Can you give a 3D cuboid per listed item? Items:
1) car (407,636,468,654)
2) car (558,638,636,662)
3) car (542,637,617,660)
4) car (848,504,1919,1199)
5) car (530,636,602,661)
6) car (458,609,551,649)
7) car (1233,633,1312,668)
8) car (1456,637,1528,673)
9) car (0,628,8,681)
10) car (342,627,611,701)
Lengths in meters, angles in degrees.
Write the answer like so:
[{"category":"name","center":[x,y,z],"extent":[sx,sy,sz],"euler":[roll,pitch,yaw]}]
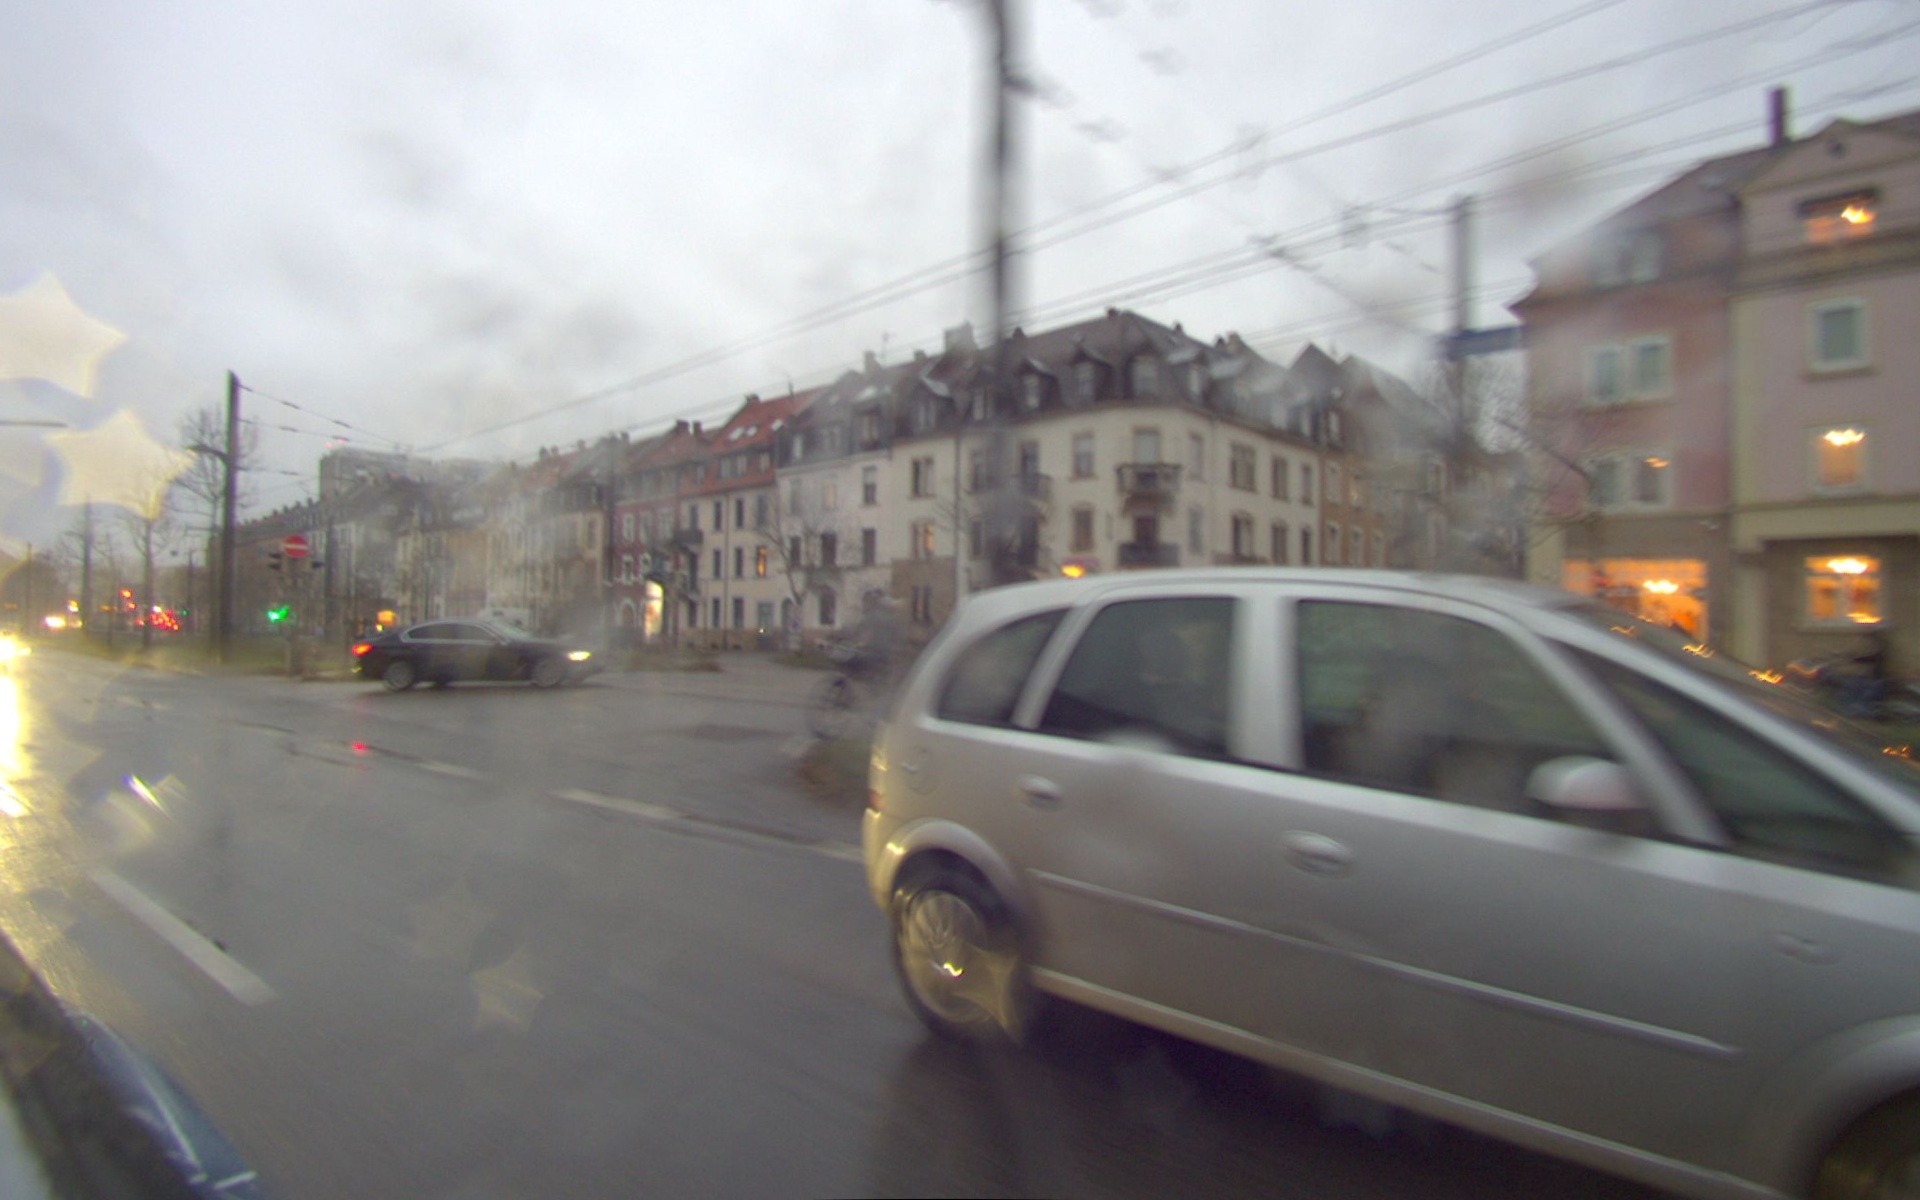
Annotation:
[{"category":"car","center":[-41.619,3.570,80.688],"extent":[3.935,1.342,2.004],"euler":[1,-2,-11]},{"category":"car","center":[-21.125,2.896,59.069],"extent":[3.936,1.342,2.003],"euler":[1,-2,-8]},{"category":"car","center":[-23.247,2.948,61.947],"extent":[3.936,1.342,2.003],"euler":[1,-2,-8]},{"category":"car","center":[1.682,0.663,2.993],"extent":[4.053,1.612,1.789],"euler":[-2,-2,42]},{"category":"car","center":[-25.070,3.094,64.514],"extent":[3.934,1.497,2.004],"euler":[1,-2,-11]},{"category":"car","center":[-33.010,2.134,73.486],"extent":[5.779,2.819,2.002],"euler":[1,-2,-4]},{"category":"car","center":[13.874,2.221,44.805],"extent":[1.795,1.497,3.942],"euler":[-2,-3,43]},{"category":"car","center":[22.811,2.328,43.327],"extent":[1.998,1.431,3.948],"euler":[-1,-2,39]},{"category":"car","center":[-29.363,1.603,29.811],"extent":[4.055,1.508,1.788],"euler":[-2,-2,45]},{"category":"car","center":[-9.909,1.297,20.958],"extent":[4.761,1.441,1.814],"euler":[0,-1,2]}]
